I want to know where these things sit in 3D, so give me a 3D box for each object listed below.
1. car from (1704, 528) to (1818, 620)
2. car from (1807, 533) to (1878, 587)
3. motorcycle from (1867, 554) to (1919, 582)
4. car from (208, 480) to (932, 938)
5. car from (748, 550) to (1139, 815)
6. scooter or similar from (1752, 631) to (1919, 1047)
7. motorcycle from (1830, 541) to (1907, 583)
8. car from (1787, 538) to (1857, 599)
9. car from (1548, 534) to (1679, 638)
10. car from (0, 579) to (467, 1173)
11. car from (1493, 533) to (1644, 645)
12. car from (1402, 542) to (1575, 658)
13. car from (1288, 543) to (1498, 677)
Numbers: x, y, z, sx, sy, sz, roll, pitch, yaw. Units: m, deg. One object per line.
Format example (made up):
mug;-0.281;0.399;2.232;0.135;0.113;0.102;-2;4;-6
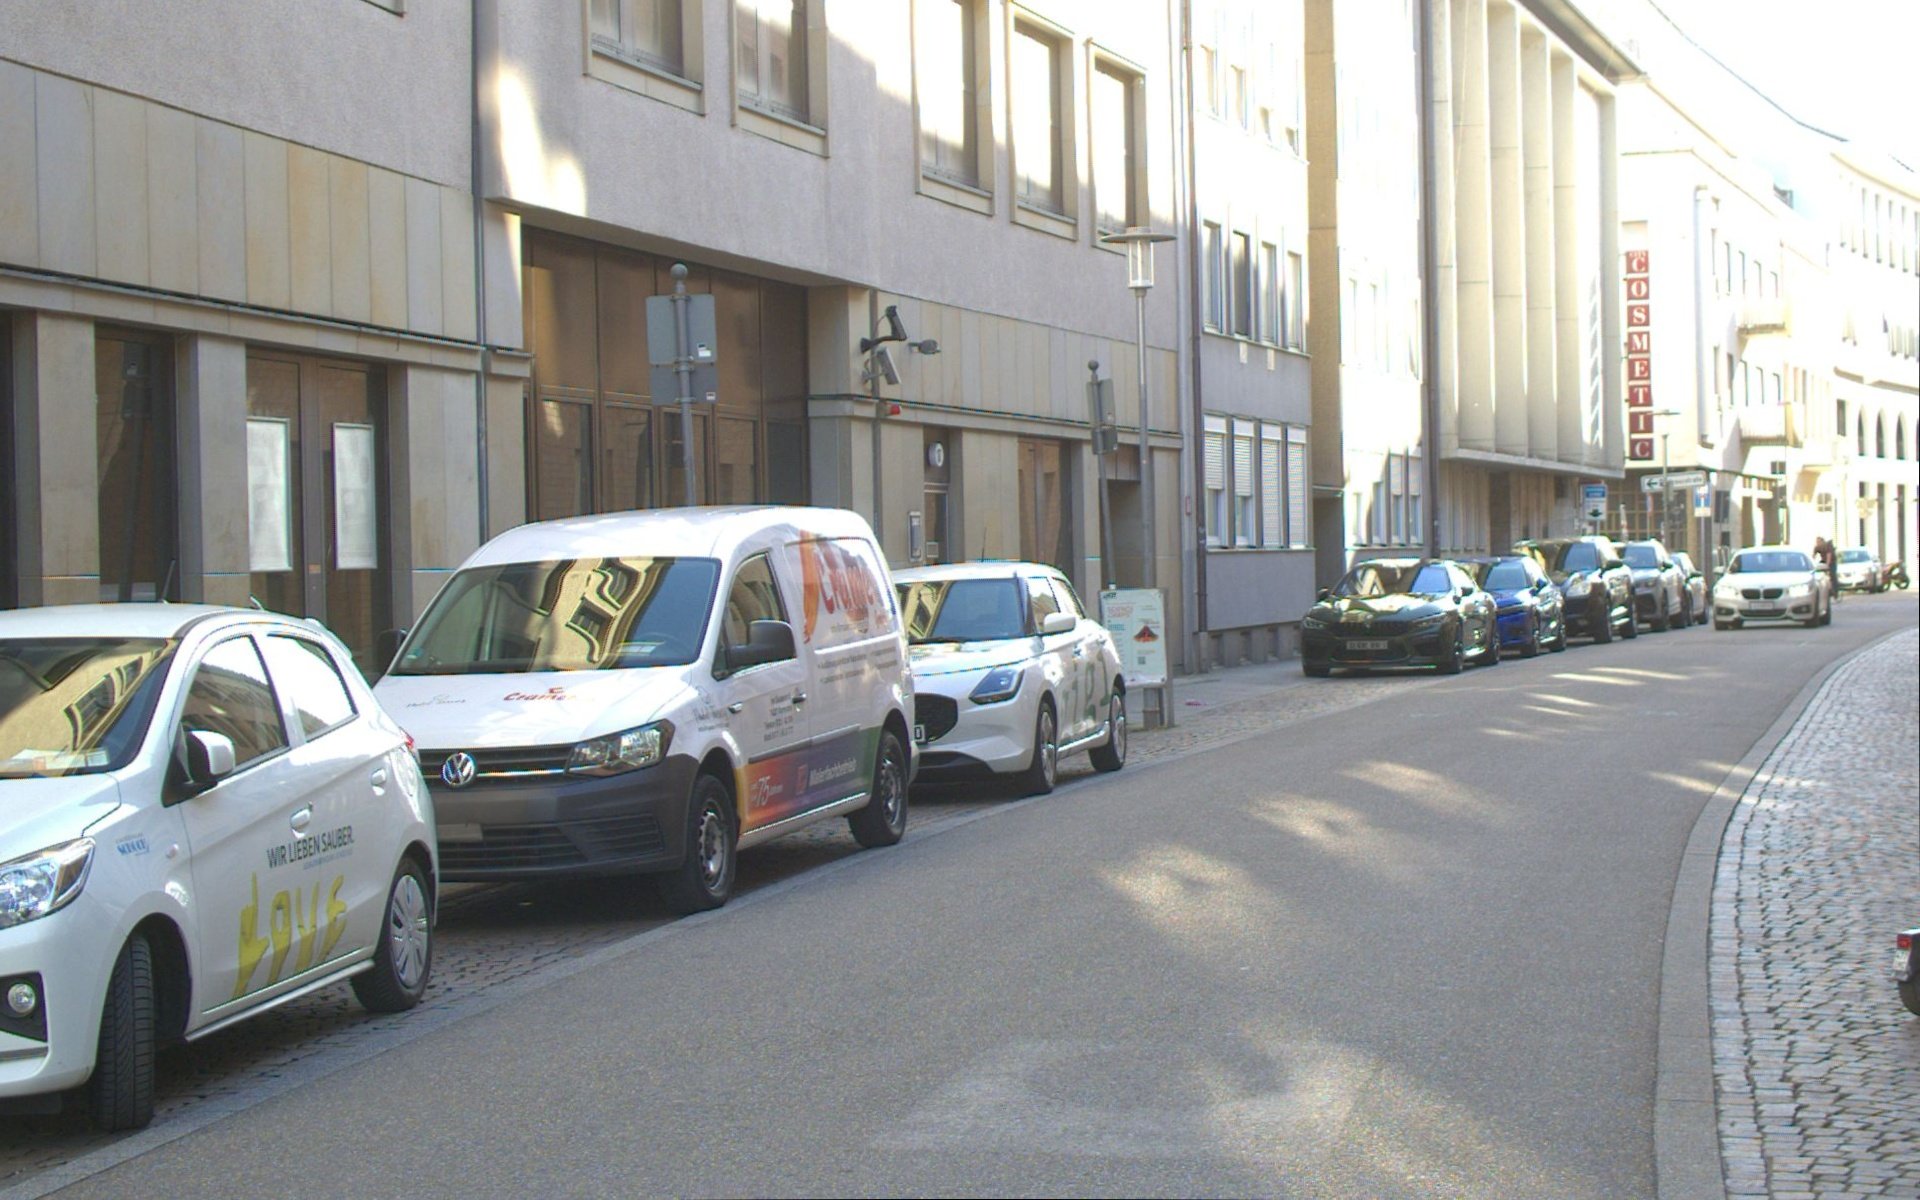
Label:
car;14.011;-0.481;60.000;1.716;1.512;4.157;-1;1;16
car;26.844;-1.242;104.537;1.738;1.600;3.529;0;1;20
motorcycle;30.265;-1.028;111.180;1.693;0.856;0.594;1;1;24
car;-1.670;0.421;16.655;1.900;1.851;4.731;-2;1;14
car;-0.015;0.481;22.768;1.670;1.517;3.773;-3;0;13
scooter or similar;3.238;0.726;11.095;1.414;1.231;0.538;-1;2;-37
motorcycle;30.494;-1.273;115.362;2.393;1.313;0.861;-2;0;20
car;22.651;-0.840;90.274;1.640;1.512;4.157;-1;1;16
car;11.737;-0.278;61.512;1.891;1.736;4.387;-1;1;16
car;-2.988;0.738;10.877;1.737;1.487;3.798;-2;1;9
car;9.714;-0.207;54.629;1.891;1.670;4.550;-1;1;16
car;7.571;-0.034;48.938;1.891;1.525;4.337;-1;1;16
car;5.473;0.081;42.940;1.891;1.525;4.725;-1;1;16
